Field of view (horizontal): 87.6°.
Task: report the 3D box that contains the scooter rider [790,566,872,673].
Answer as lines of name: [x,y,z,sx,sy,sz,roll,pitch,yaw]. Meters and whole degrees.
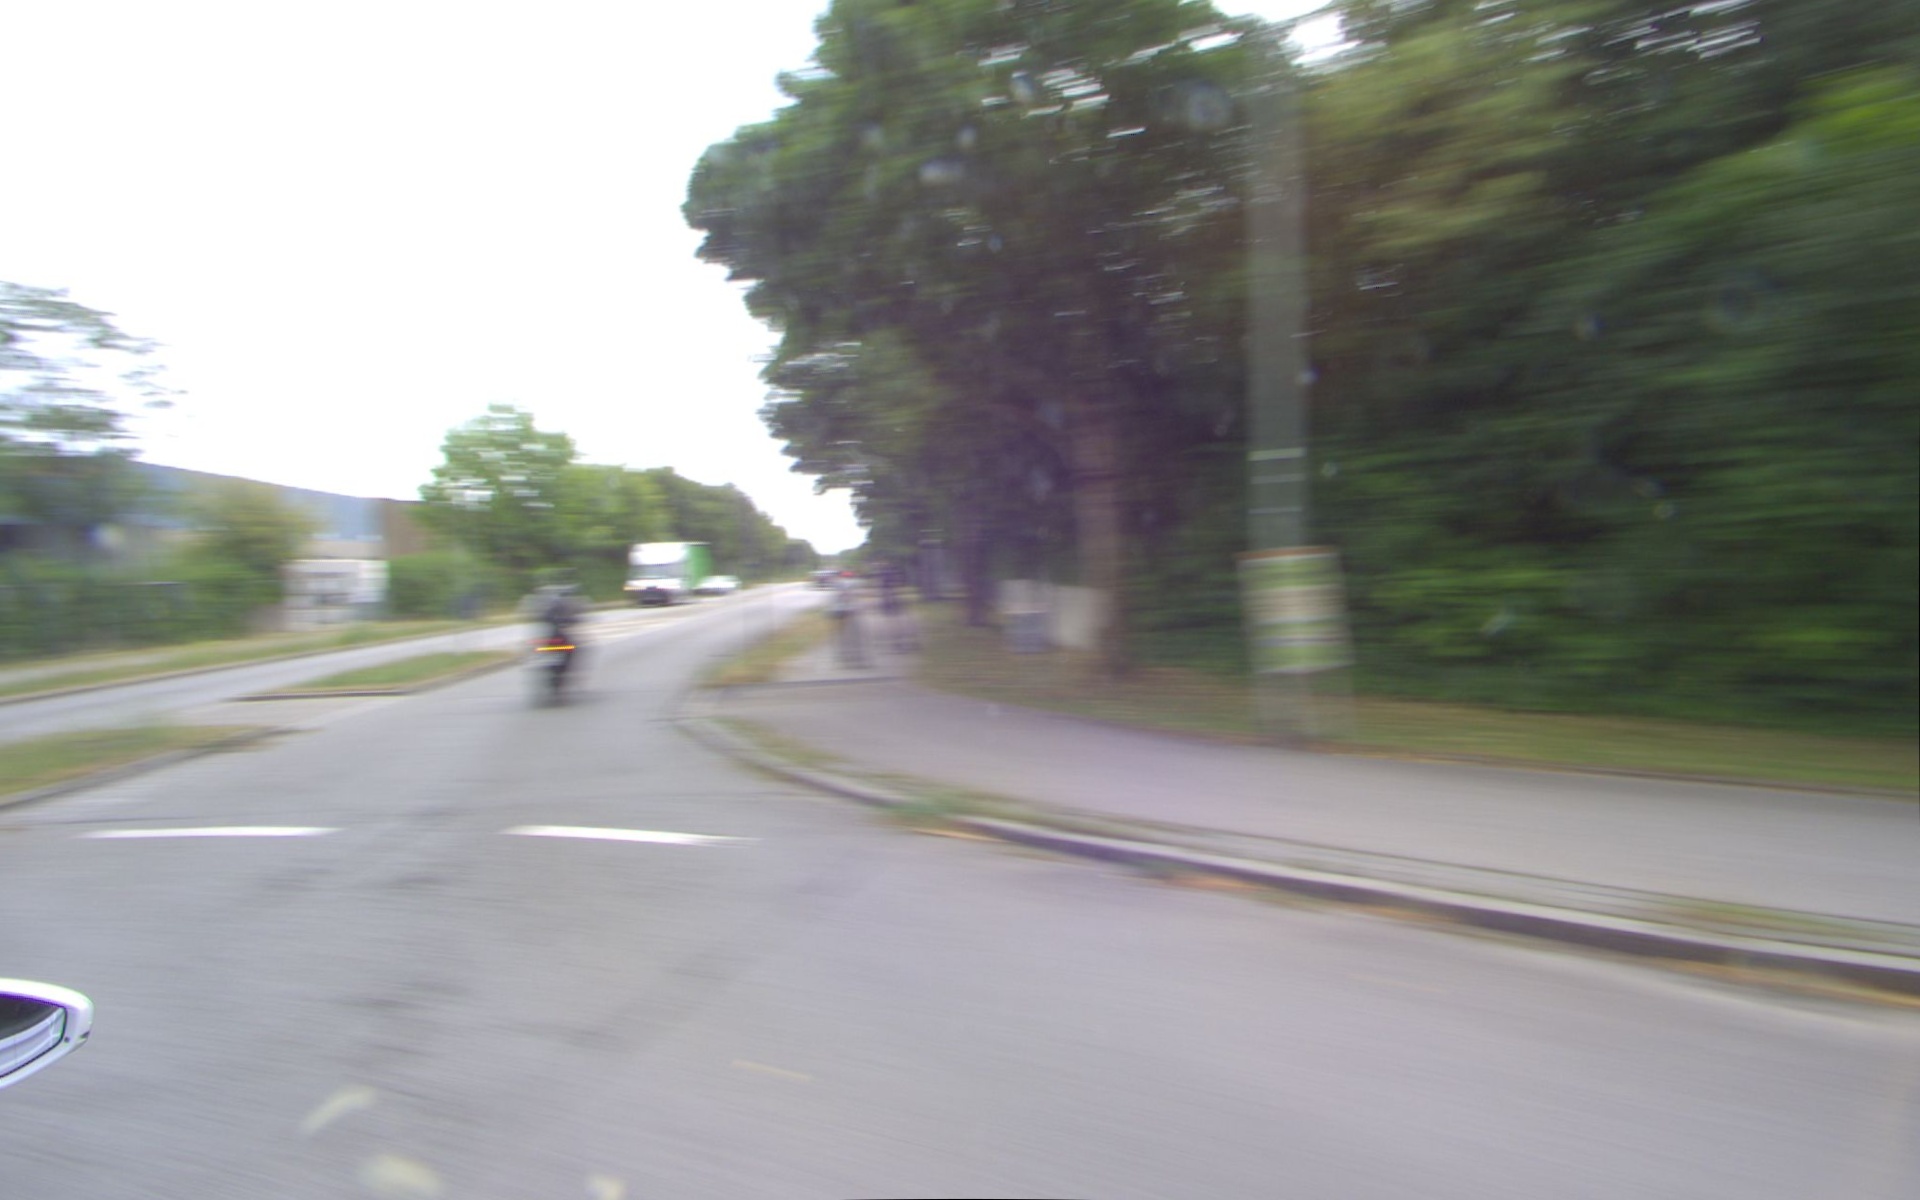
scooter rider: [-2.119,0.296,16.630,1.079,1.695,1.244,-1,3,4]

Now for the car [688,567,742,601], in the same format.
car: [-17.101,-1.180,70.350,2.636,2.203,5.994,-2,2,-4]

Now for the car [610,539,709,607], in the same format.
car: [-15.657,-1.420,52.849,3.119,3.249,7.627,-2,2,-3]

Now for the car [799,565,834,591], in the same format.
car: [-11.685,-1.819,82.113,2.473,1.974,5.706,-2,2,-5]

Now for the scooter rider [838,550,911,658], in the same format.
scooter rider: [-1.592,0.059,18.957,1.202,1.936,1.127,-3,3,0]

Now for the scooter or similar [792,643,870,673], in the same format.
scooter or similar: [-2.120,0.955,16.656,1.078,0.369,1.227,-1,2,4]

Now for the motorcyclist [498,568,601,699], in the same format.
motorcyclist: [-5.449,0.407,13.366,0.847,1.646,1.189,-1,3,-2]

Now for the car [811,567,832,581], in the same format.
car: [-19.962,-3.769,144.340,2.472,1.974,5.707,-2,2,-3]

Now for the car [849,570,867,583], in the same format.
car: [-16.423,-3.775,161.039,2.472,1.974,5.707,-2,2,-3]

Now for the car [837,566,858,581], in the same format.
car: [-15.897,-3.784,141.929,2.472,1.974,5.707,-2,2,-3]

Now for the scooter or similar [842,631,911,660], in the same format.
scooter or similar: [-1.559,0.855,18.988,1.202,0.385,1.127,-3,2,0]

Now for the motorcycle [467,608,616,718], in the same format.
motorcycle: [-5.429,0.765,13.229,0.882,1.174,2.618,-1,2,-1]
